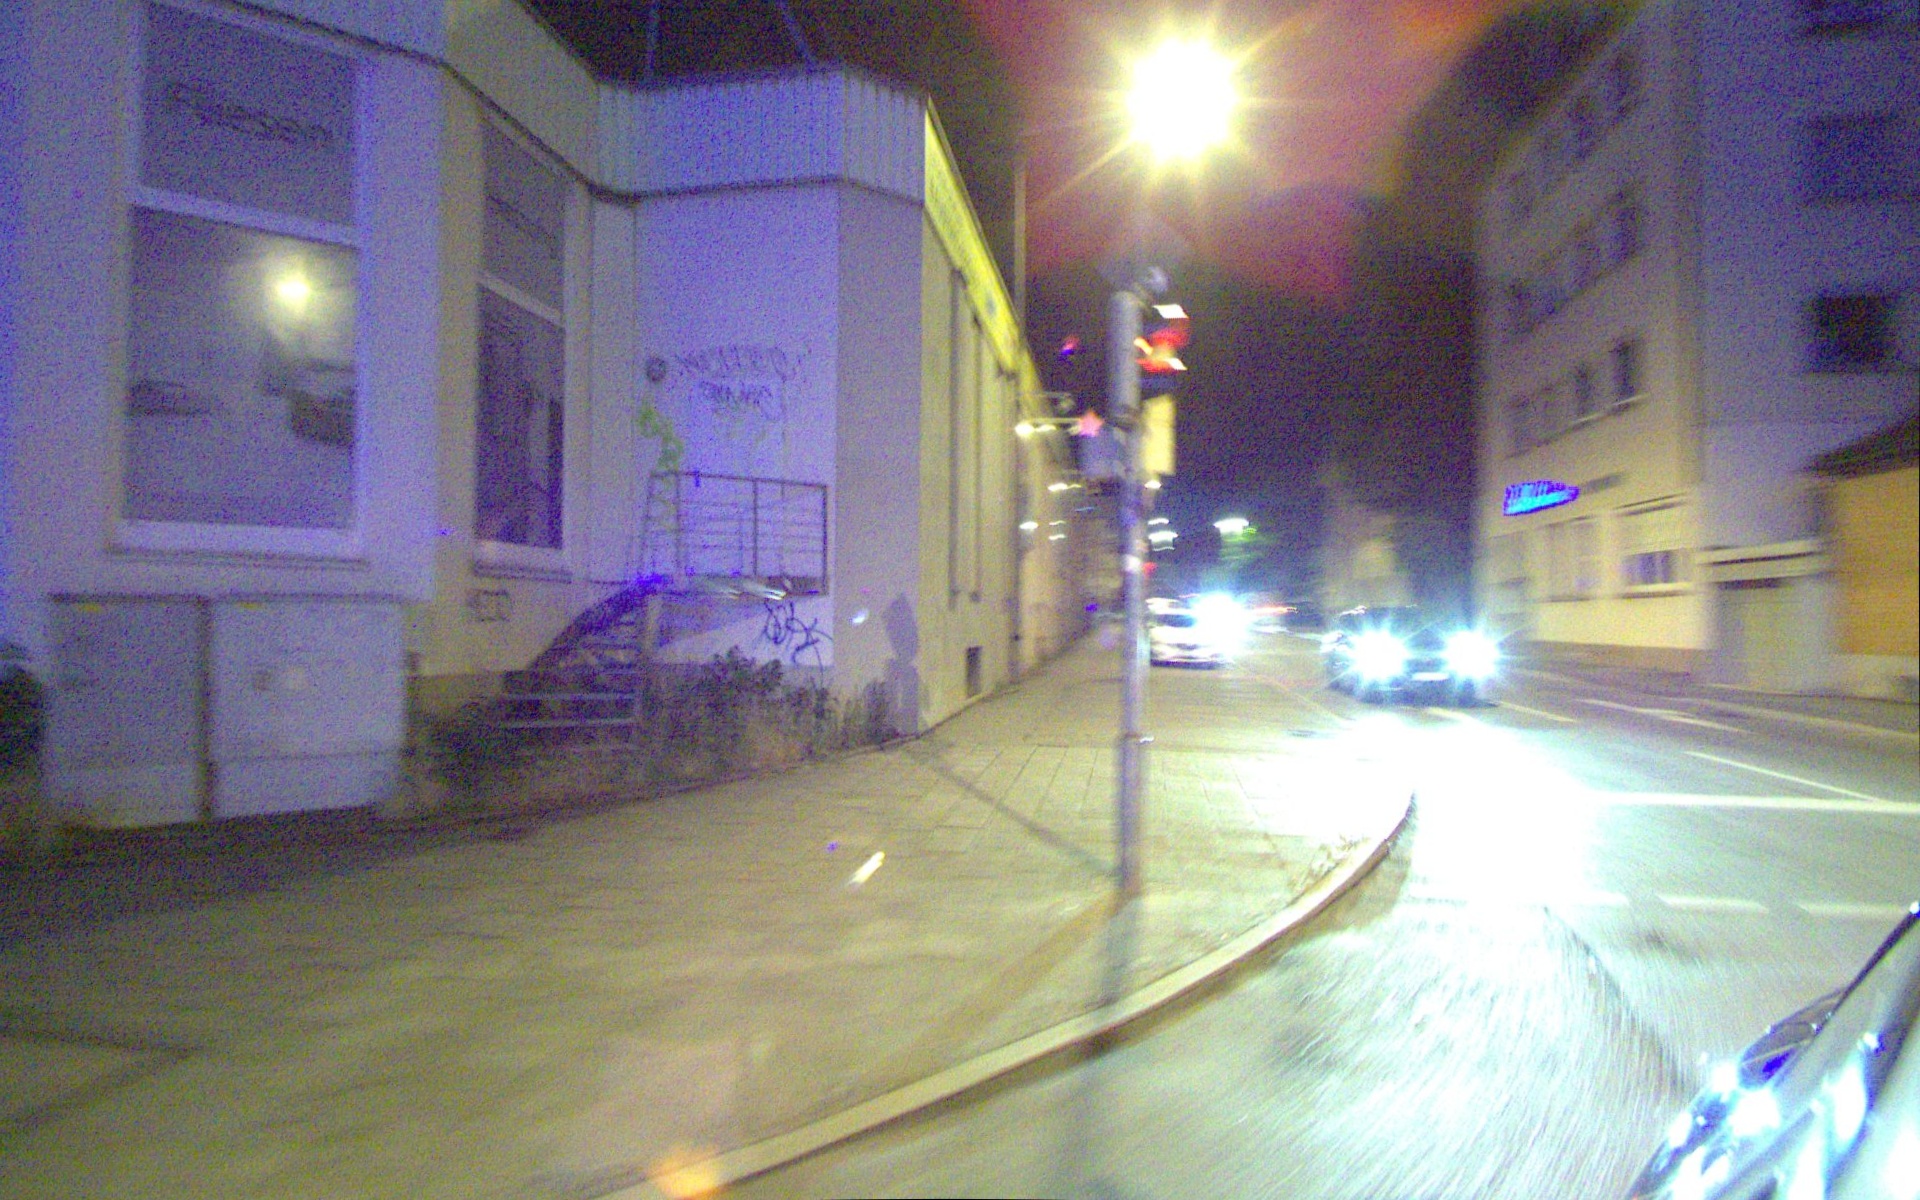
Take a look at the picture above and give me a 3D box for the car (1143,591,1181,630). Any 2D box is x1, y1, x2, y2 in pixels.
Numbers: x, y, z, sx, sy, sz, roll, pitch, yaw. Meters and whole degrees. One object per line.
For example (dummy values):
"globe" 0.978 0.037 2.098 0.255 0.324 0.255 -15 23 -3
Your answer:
"car" 10.729 0.558 54.010 1.777 1.899 4.759 2 0 10

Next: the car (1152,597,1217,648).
"car" 7.422 0.709 33.834 1.750 1.563 4.536 0 0 8

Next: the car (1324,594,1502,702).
"car" 7.763 0.740 17.769 1.969 1.636 3.986 1 0 11

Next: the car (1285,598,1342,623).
"car" 27.033 0.785 77.390 3.955 1.913 1.894 0 0 24

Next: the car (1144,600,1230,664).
"car" 5.897 0.778 26.752 1.834 1.507 4.536 0 0 8

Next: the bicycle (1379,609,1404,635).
"bicycle" 18.711 0.955 43.913 0.611 1.065 1.716 0 0 11

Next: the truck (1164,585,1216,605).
"truck" 42.838 -0.965 188.330 9.266 3.769 1.982 0 0 27

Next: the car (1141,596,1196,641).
"car" 8.202 0.704 40.135 1.799 1.643 4.447 1 0 8
